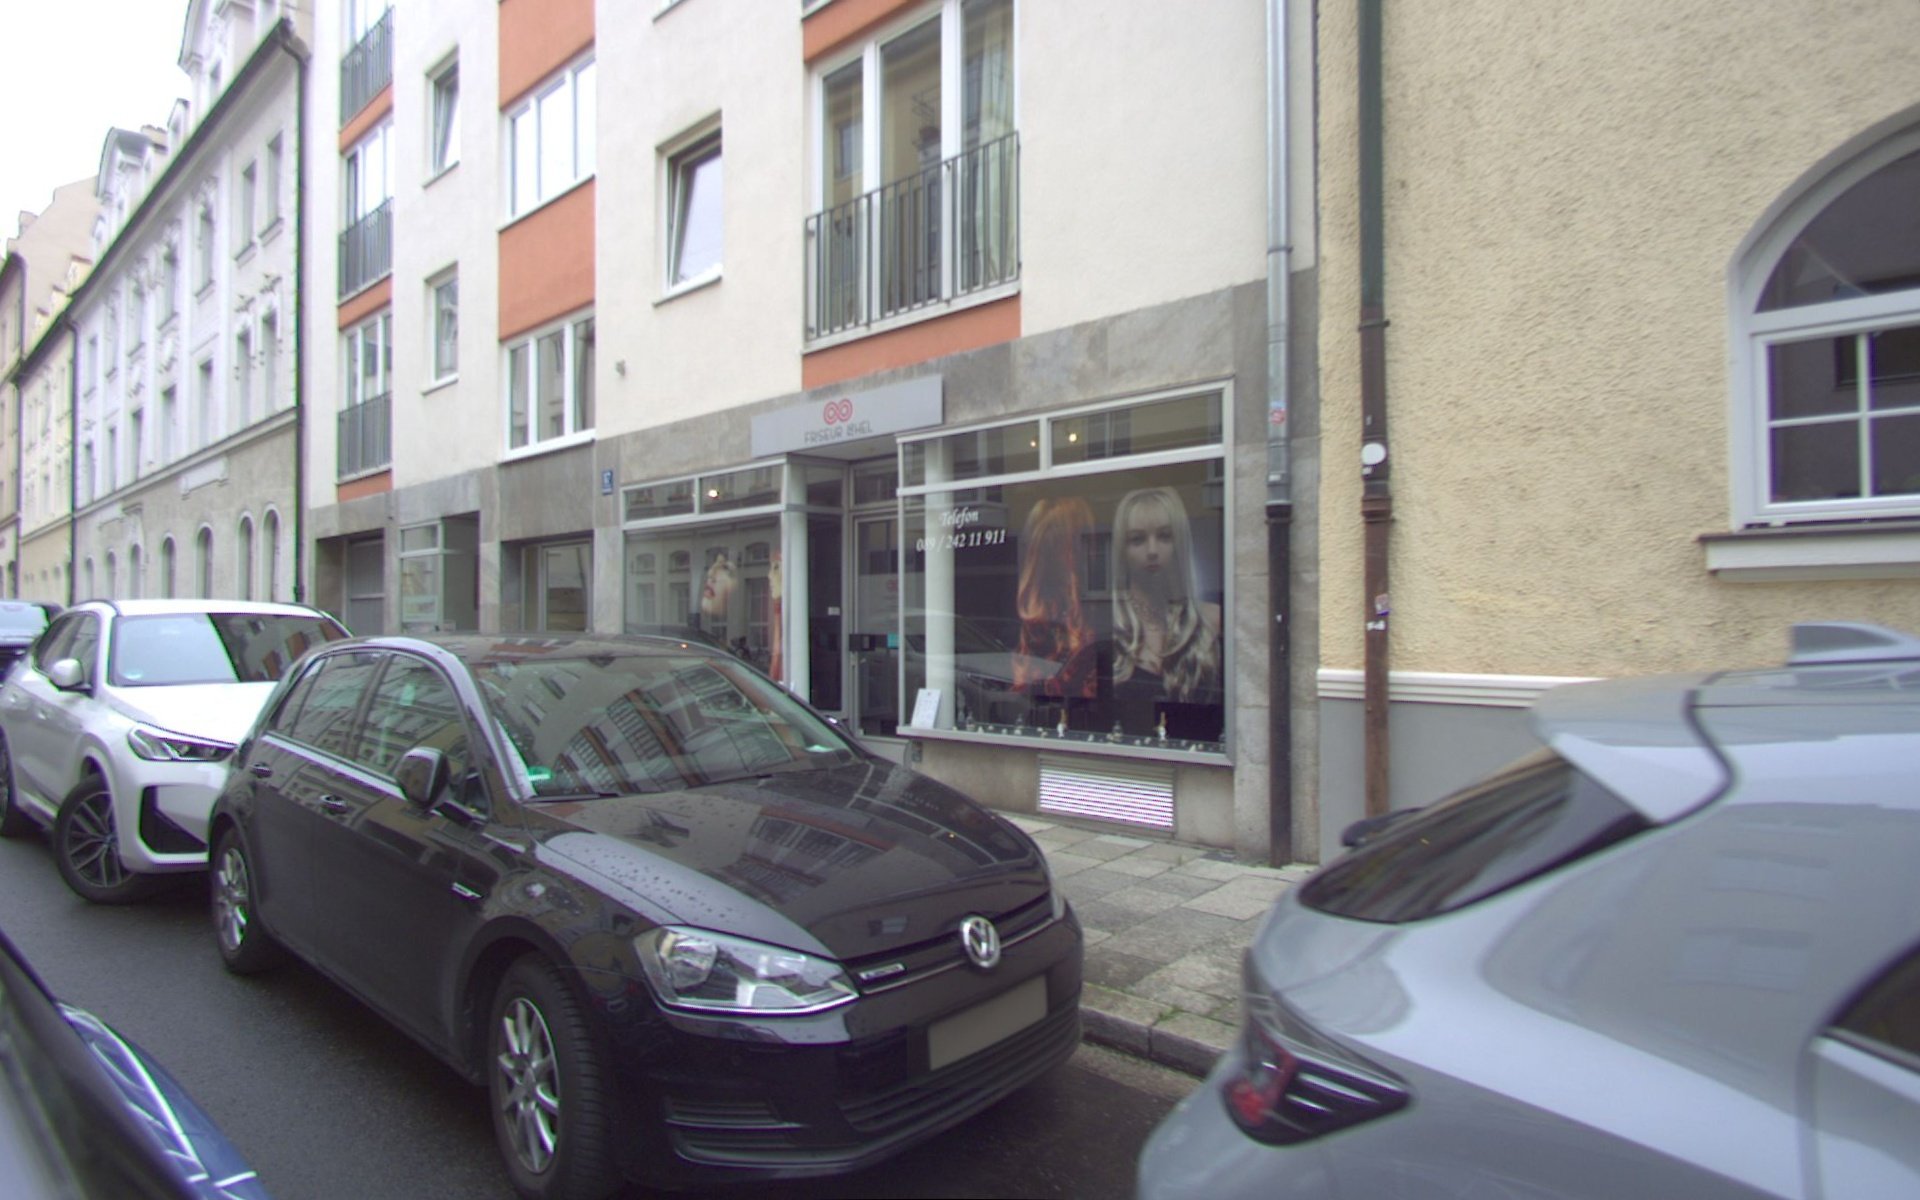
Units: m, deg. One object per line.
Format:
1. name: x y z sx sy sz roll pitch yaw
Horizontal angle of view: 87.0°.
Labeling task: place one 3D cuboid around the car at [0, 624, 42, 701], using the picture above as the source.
1. car: -20.095 1.214 20.371 3.714 1.490 1.926 -1 -4 41

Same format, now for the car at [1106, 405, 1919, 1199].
1. car: 2.242 0.637 0.426 4.111 1.486 1.654 0 -3 42

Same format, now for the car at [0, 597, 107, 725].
1. car: -15.768 0.943 16.609 4.906 1.875 1.926 -1 -4 41

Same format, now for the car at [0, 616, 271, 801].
1. car: -8.473 0.957 10.110 4.027 1.487 1.611 -2 -4 41

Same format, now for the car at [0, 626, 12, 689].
1. car: -24.546 1.355 24.487 3.714 1.490 1.926 -1 -4 41

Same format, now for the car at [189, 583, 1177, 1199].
1. car: -1.312 0.795 3.707 3.839 1.487 1.611 -2 -4 41

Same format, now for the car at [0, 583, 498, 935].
1. car: -5.030 0.815 6.707 4.302 1.617 1.764 -1 -4 38
